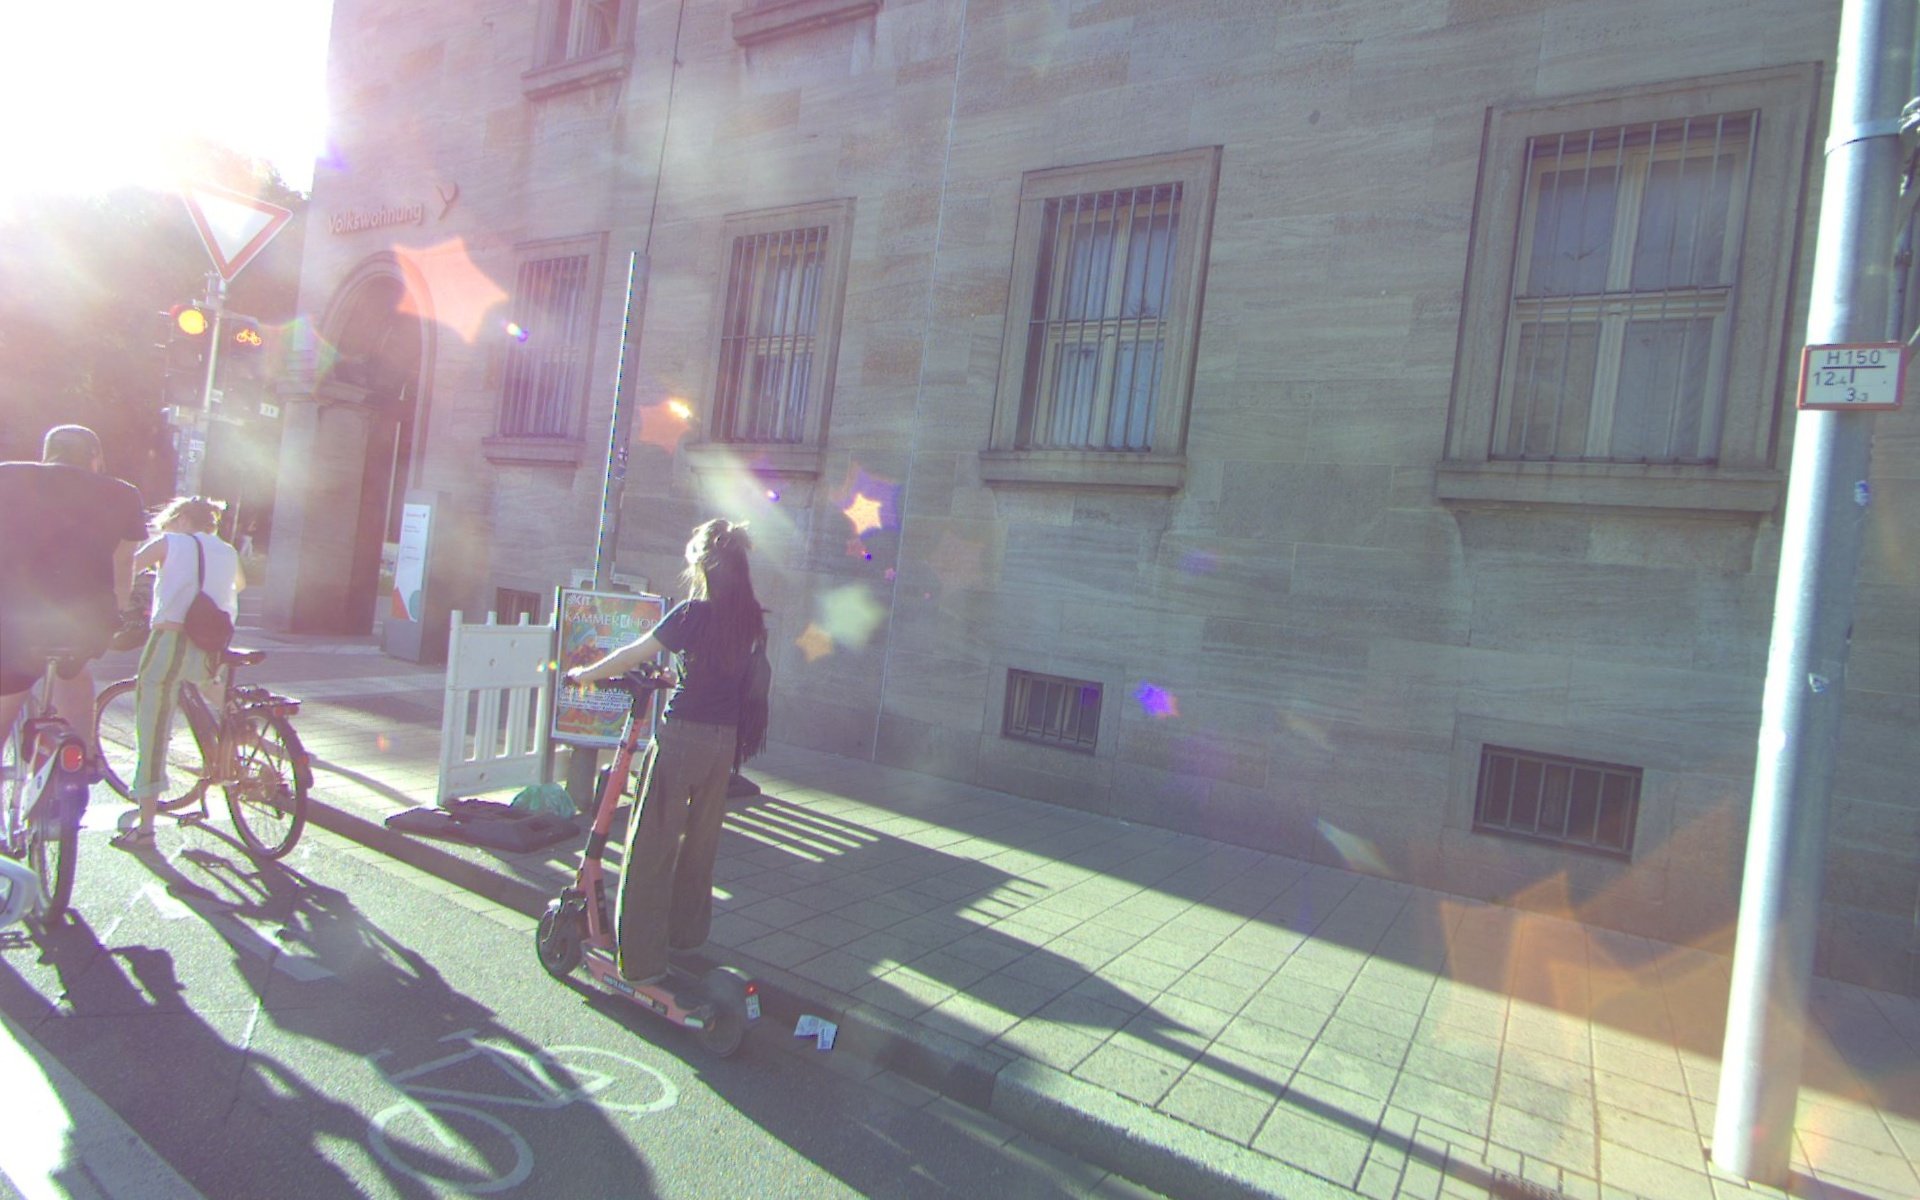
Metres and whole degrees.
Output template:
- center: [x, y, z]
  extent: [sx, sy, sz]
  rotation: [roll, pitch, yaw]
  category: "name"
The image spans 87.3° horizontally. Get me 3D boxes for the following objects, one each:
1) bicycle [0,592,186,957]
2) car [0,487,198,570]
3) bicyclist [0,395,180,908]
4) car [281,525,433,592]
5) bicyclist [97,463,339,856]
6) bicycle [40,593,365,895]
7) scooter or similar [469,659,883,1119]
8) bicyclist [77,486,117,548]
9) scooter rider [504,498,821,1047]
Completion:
- center: [-3.732, 0.572, 3.921]
  extent: [1.700, 1.090, 0.516]
  rotation: [7, -1, 34]
  category: "bicycle"
- center: [-23.366, -1.893, 27.193]
  extent: [1.623, 1.630, 3.999]
  rotation: [7, -1, 31]
  category: "car"
- center: [-3.543, 0.191, 3.851]
  extent: [0.541, 1.820, 0.559]
  rotation: [7, -1, 33]
  category: "bicyclist"
- center: [-19.690, -1.321, 33.020]
  extent: [1.623, 1.630, 3.854]
  rotation: [7, -1, 31]
  category: "car"
- center: [-3.529, 0.264, 4.801]
  extent: [0.629, 1.711, 0.558]
  rotation: [7, -1, 30]
  category: "bicyclist"
- center: [-3.676, 0.619, 4.839]
  extent: [1.721, 1.090, 0.535]
  rotation: [7, -1, 31]
  category: "bicycle"
- center: [-1.022, 0.897, 3.542]
  extent: [1.305, 1.199, 0.535]
  rotation: [7, 0, 31]
  category: "scooter or similar"
- center: [-25.055, -2.407, 29.206]
  extent: [0.499, 1.704, 0.643]
  rotation: [7, 0, 37]
  category: "bicyclist"
- center: [-1.030, 0.551, 3.575]
  extent: [0.547, 1.691, 0.730]
  rotation: [7, 0, 31]
  category: "scooter rider"
